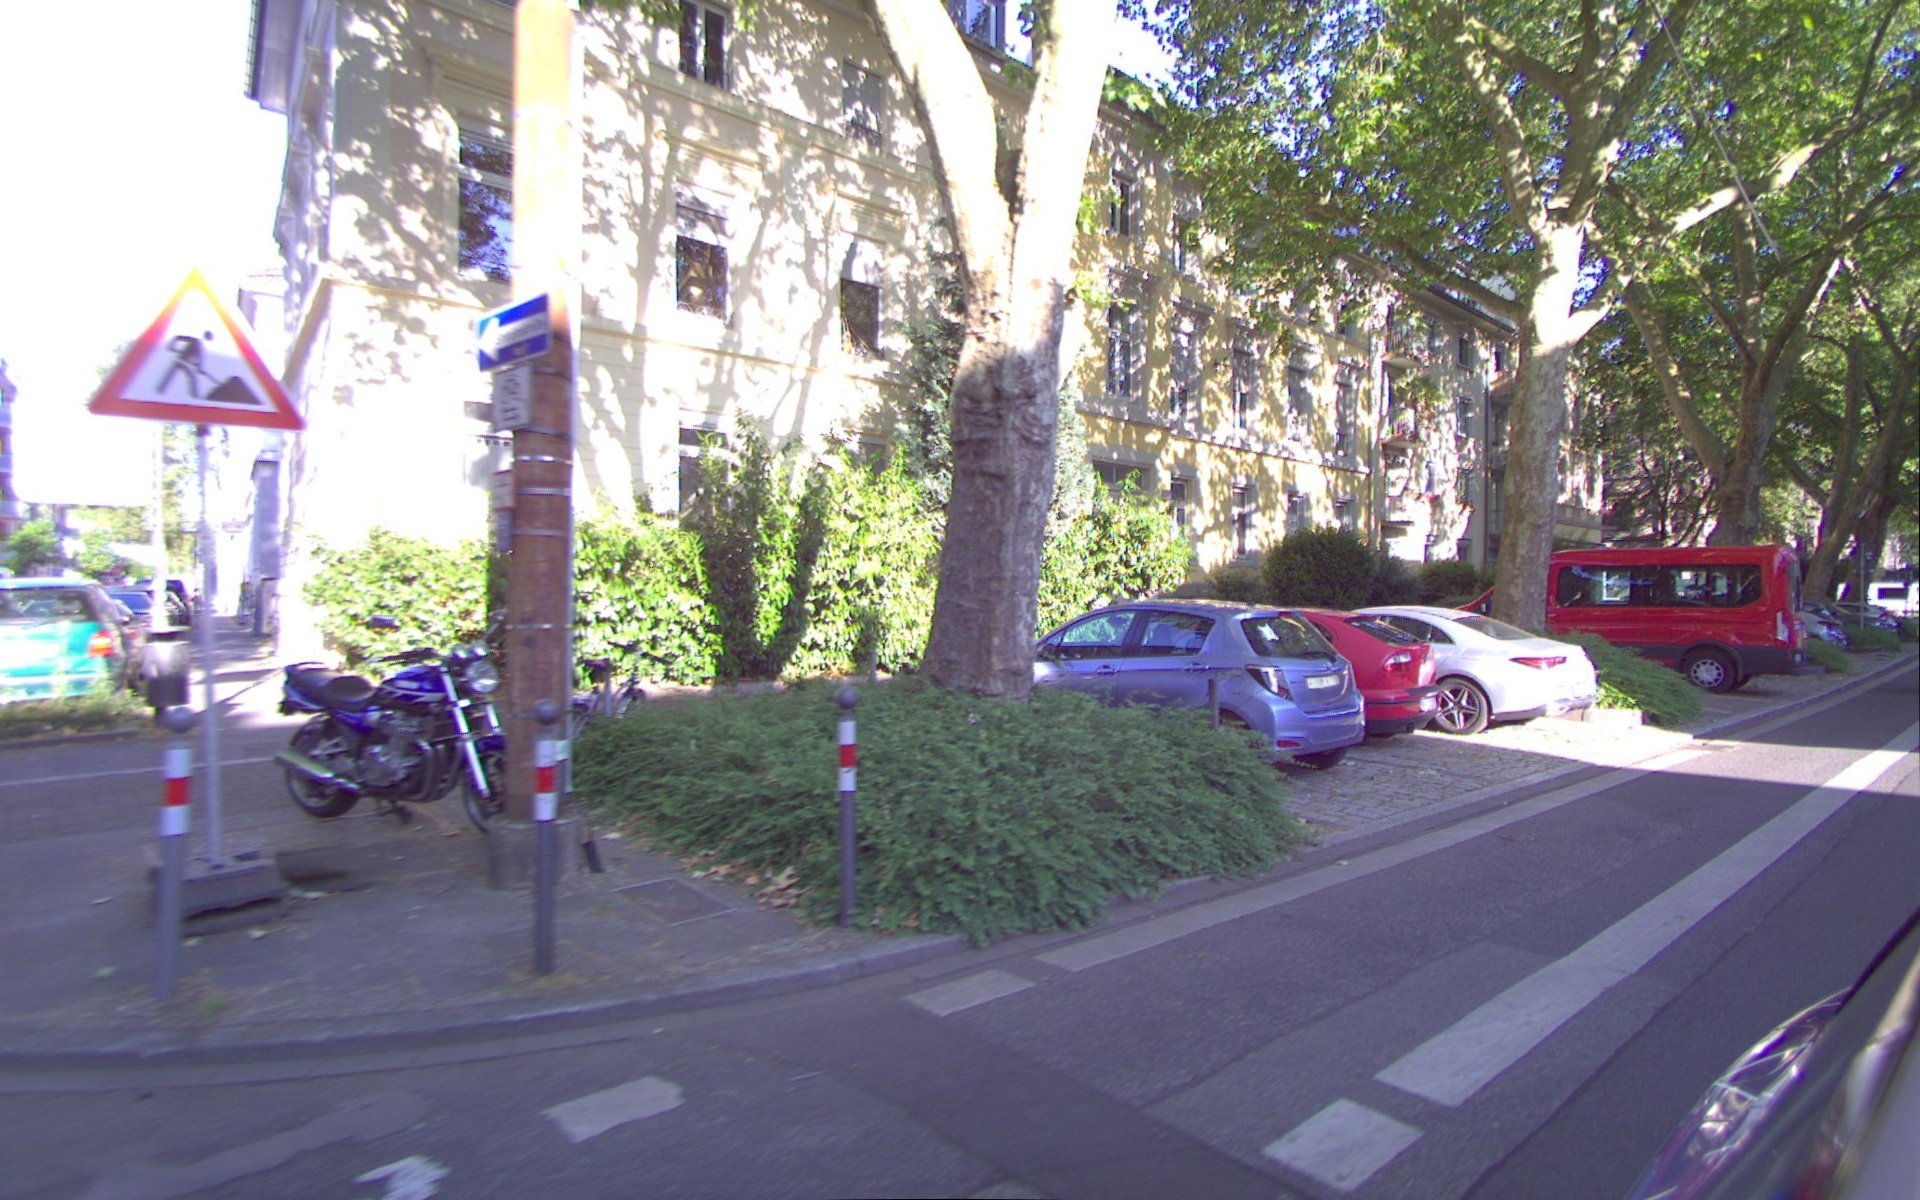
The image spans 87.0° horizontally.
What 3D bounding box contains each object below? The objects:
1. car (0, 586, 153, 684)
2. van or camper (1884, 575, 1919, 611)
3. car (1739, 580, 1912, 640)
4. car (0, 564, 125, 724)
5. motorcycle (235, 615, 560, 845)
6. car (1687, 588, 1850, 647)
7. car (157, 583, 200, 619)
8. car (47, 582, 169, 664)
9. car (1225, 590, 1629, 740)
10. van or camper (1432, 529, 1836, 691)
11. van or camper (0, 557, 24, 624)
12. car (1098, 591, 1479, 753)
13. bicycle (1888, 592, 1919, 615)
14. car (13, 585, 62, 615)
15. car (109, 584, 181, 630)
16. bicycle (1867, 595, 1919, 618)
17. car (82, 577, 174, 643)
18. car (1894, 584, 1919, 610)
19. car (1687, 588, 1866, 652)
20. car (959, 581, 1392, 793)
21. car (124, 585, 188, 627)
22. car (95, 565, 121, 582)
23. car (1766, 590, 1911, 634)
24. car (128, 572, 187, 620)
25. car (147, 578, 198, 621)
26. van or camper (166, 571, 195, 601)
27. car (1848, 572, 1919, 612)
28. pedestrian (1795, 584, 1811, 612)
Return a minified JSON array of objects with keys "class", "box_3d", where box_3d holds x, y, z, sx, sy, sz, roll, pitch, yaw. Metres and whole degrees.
[{"class":"car","box_3d":[-14.067,0.480,16.273,1.601,1.341,3.665,-3,2,-38]},{"class":"van or camper","box_3d":[69.161,-0.509,71.184,2.071,2.522,6.041,-1,1,-42]},{"class":"car","box_3d":[29.274,0.293,34.312,1.818,1.740,4.267,0,3,-44]},{"class":"car","box_3d":[-10.915,0.430,11.904,1.603,1.608,3.479,-5,4,-39]},{"class":"motorcycle","box_3d":[-3.440,0.728,6.138,2.145,1.243,0.471,-1,-1,22]},{"class":"car","box_3d":[24.069,0.460,30.214,1.514,1.619,3.601,-1,2,-41]},{"class":"car","box_3d":[-42.979,0.025,55.711,1.600,1.846,3.708,-3,2,-35]},{"class":"car","box_3d":[-16.922,0.390,20.254,1.627,1.431,4.084,-3,2,-37]},{"class":"car","box_3d":[5.669,0.659,12.758,1.729,1.434,4.296,0,2,-40]},{"class":"van or camper","box_3d":[12.201,0.037,18.734,2.249,2.550,5.822,1,2,-43]},{"class":"van or camper","box_3d":[-38.247,-0.347,39.579,1.846,2.550,4.430,-3,2,-37]},{"class":"car","box_3d":[3.579,0.666,11.438,3.751,1.404,1.655,3,2,43]},{"class":"bicycle","box_3d":[51.614,0.185,54.935,0.405,1.193,2.051,-1,1,-5]},{"class":"car","box_3d":[-52.074,-0.019,57.186,1.600,1.569,3.482,-3,2,-36]},{"class":"car","box_3d":[-27.753,0.205,34.548,1.600,1.449,3.708,-3,2,-35]},{"class":"bicycle","box_3d":[48.964,0.338,53.077,0.405,1.193,2.049,-1,1,-33]},{"class":"car","box_3d":[-22.879,0.231,27.941,1.600,1.670,3.708,-3,2,-35]},{"class":"car","box_3d":[64.713,-0.212,67.115,1.767,1.676,3.957,-1,2,-44]},{"class":"car","box_3d":[22.568,0.502,28.059,1.664,1.536,3.601,0,2,-41]},{"class":"car","box_3d":[1.838,0.622,9.538,1.652,1.527,3.758,0,2,-41]},{"class":"car","box_3d":[-30.057,0.198,37.920,1.600,1.449,3.708,-3,2,-35]},{"class":"car","box_3d":[-82.827,-2.582,98.361,1.600,1.569,3.482,-3,2,-36]},{"class":"car","box_3d":[33.041,0.392,38.145,4.027,1.498,1.655,2,2,43]},{"class":"car","box_3d":[-32.671,-0.185,41.270,1.600,1.846,3.708,-3,2,-35]},{"class":"car","box_3d":[-36.321,-0.043,46.740,1.600,1.846,3.708,-3,2,-35]},{"class":"van or camper","box_3d":[-63.274,-1.114,82.192,1.600,2.304,4.789,-3,2,-36]},{"class":"car","box_3d":[55.703,-0.437,58.783,1.970,2.311,6.003,1,0,-40]},{"class":"pedestrian","box_3d":[52.084,-0.128,62.527,0.587,1.672,0.703,0,0,22]}]
